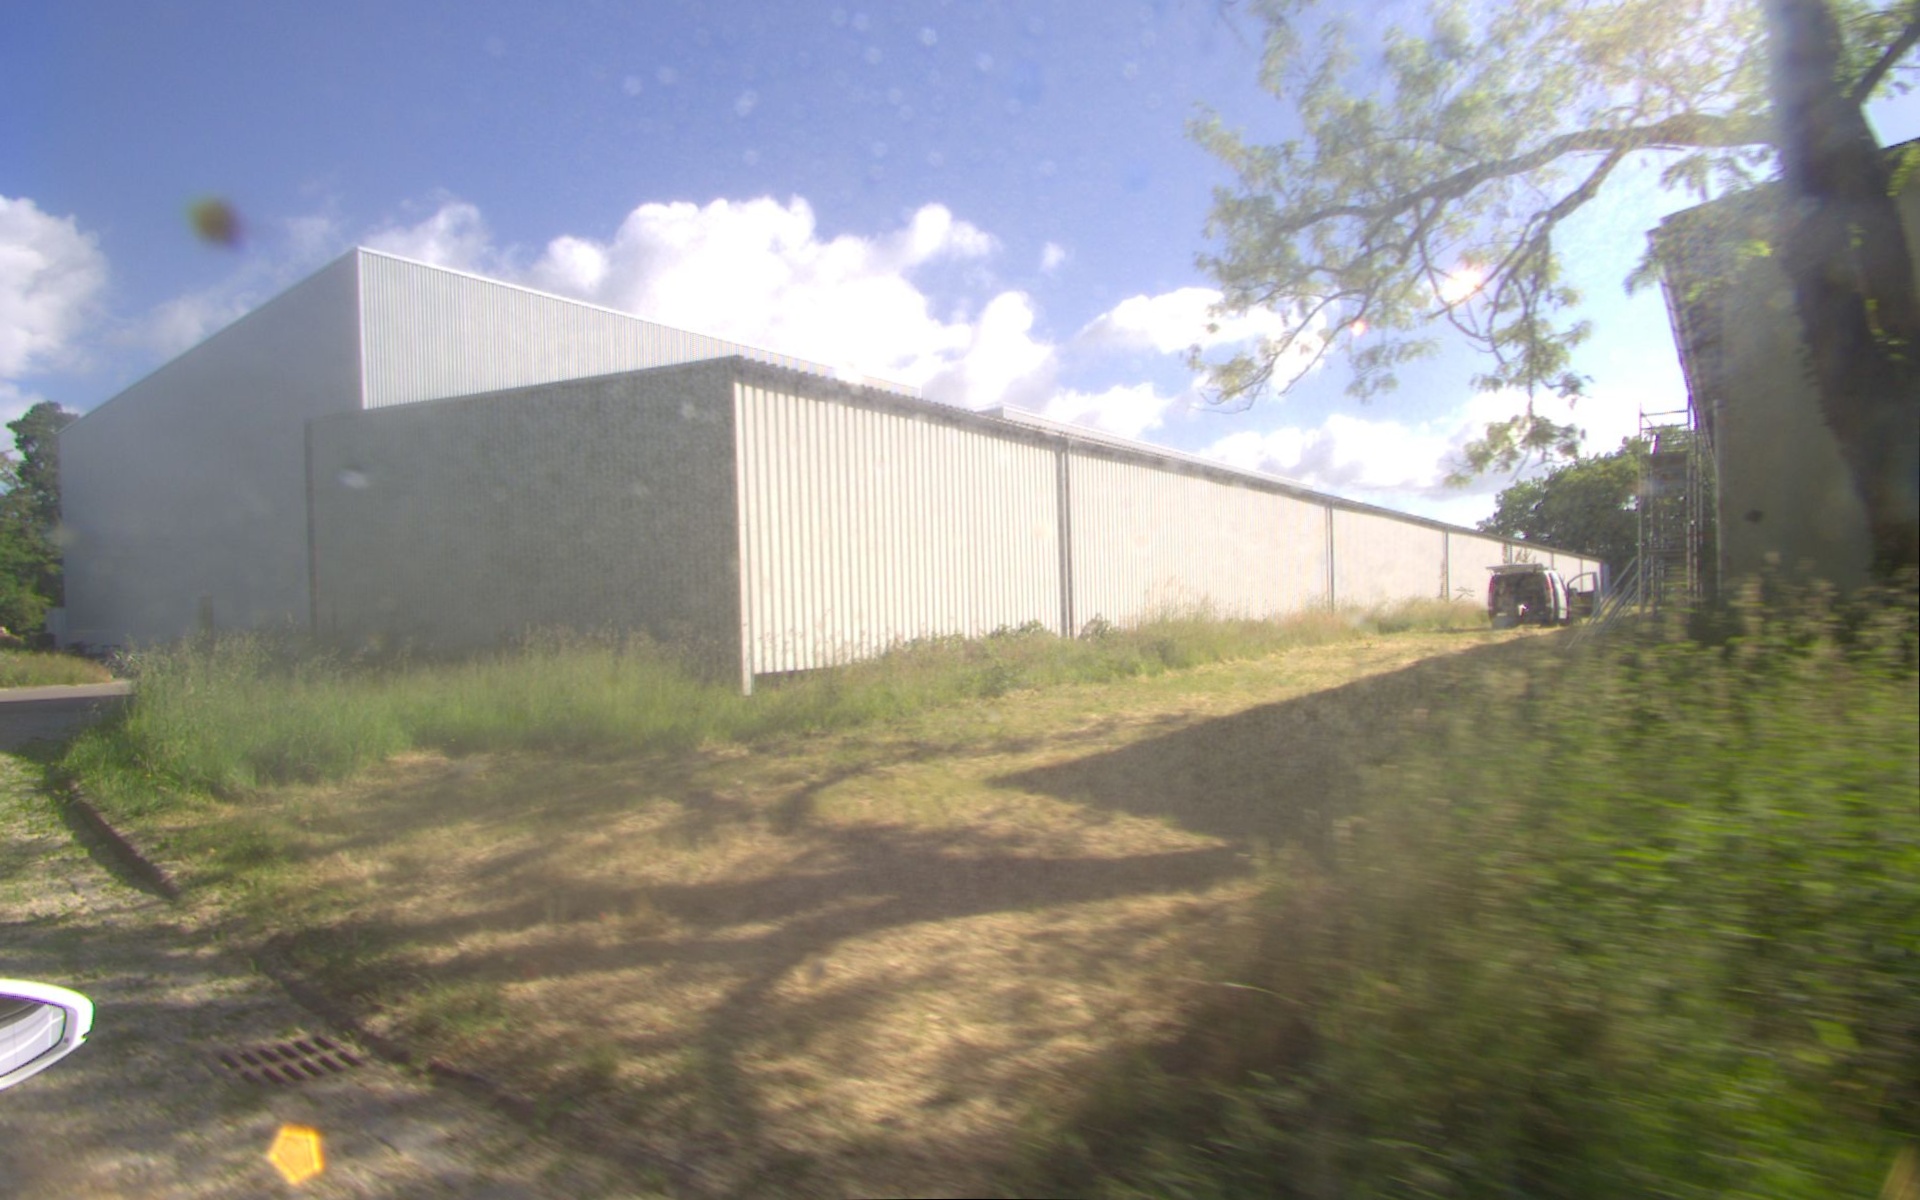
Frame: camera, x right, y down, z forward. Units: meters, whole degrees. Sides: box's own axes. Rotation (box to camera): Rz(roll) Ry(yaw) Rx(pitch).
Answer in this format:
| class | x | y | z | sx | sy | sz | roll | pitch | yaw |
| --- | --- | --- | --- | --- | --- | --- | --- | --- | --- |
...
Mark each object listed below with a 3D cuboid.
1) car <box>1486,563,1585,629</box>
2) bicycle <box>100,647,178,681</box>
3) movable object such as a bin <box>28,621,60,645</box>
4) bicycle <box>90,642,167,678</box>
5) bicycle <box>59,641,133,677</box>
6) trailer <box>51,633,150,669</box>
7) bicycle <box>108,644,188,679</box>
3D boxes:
| class | x | y | z | sx | sy | sz | roll | pitch | yaw |
| --- | --- | --- | --- | --- | --- | --- | --- | --- | --- |
| car | 18.554 | -0.117 | 32.219 | 2.054 | 1.853 | 4.241 | -5 | -2 | 39 |
| bicycle | -26.419 | 2.045 | 32.238 | 0.428 | 0.991 | 1.876 | -1 | 0 | 37 |
| movable object such as a bin | -65.431 | 2.377 | 71.529 | 2.810 | 1.678 | 1.356 | -2 | 0 | 41 |
| bicycle | -27.390 | 1.967 | 33.022 | 0.428 | 1.096 | 1.876 | -1 | 0 | 37 |
| bicycle | -29.653 | 2.009 | 34.397 | 0.428 | 1.141 | 1.876 | -1 | 0 | 37 |
| trailer | -33.334 | 1.959 | 38.869 | 1.230 | 1.215 | 2.700 | -2 | 0 | 37 |
| bicycle | -25.451 | 1.922 | 31.416 | 0.428 | 0.991 | 1.876 | -1 | 0 | 37 |
